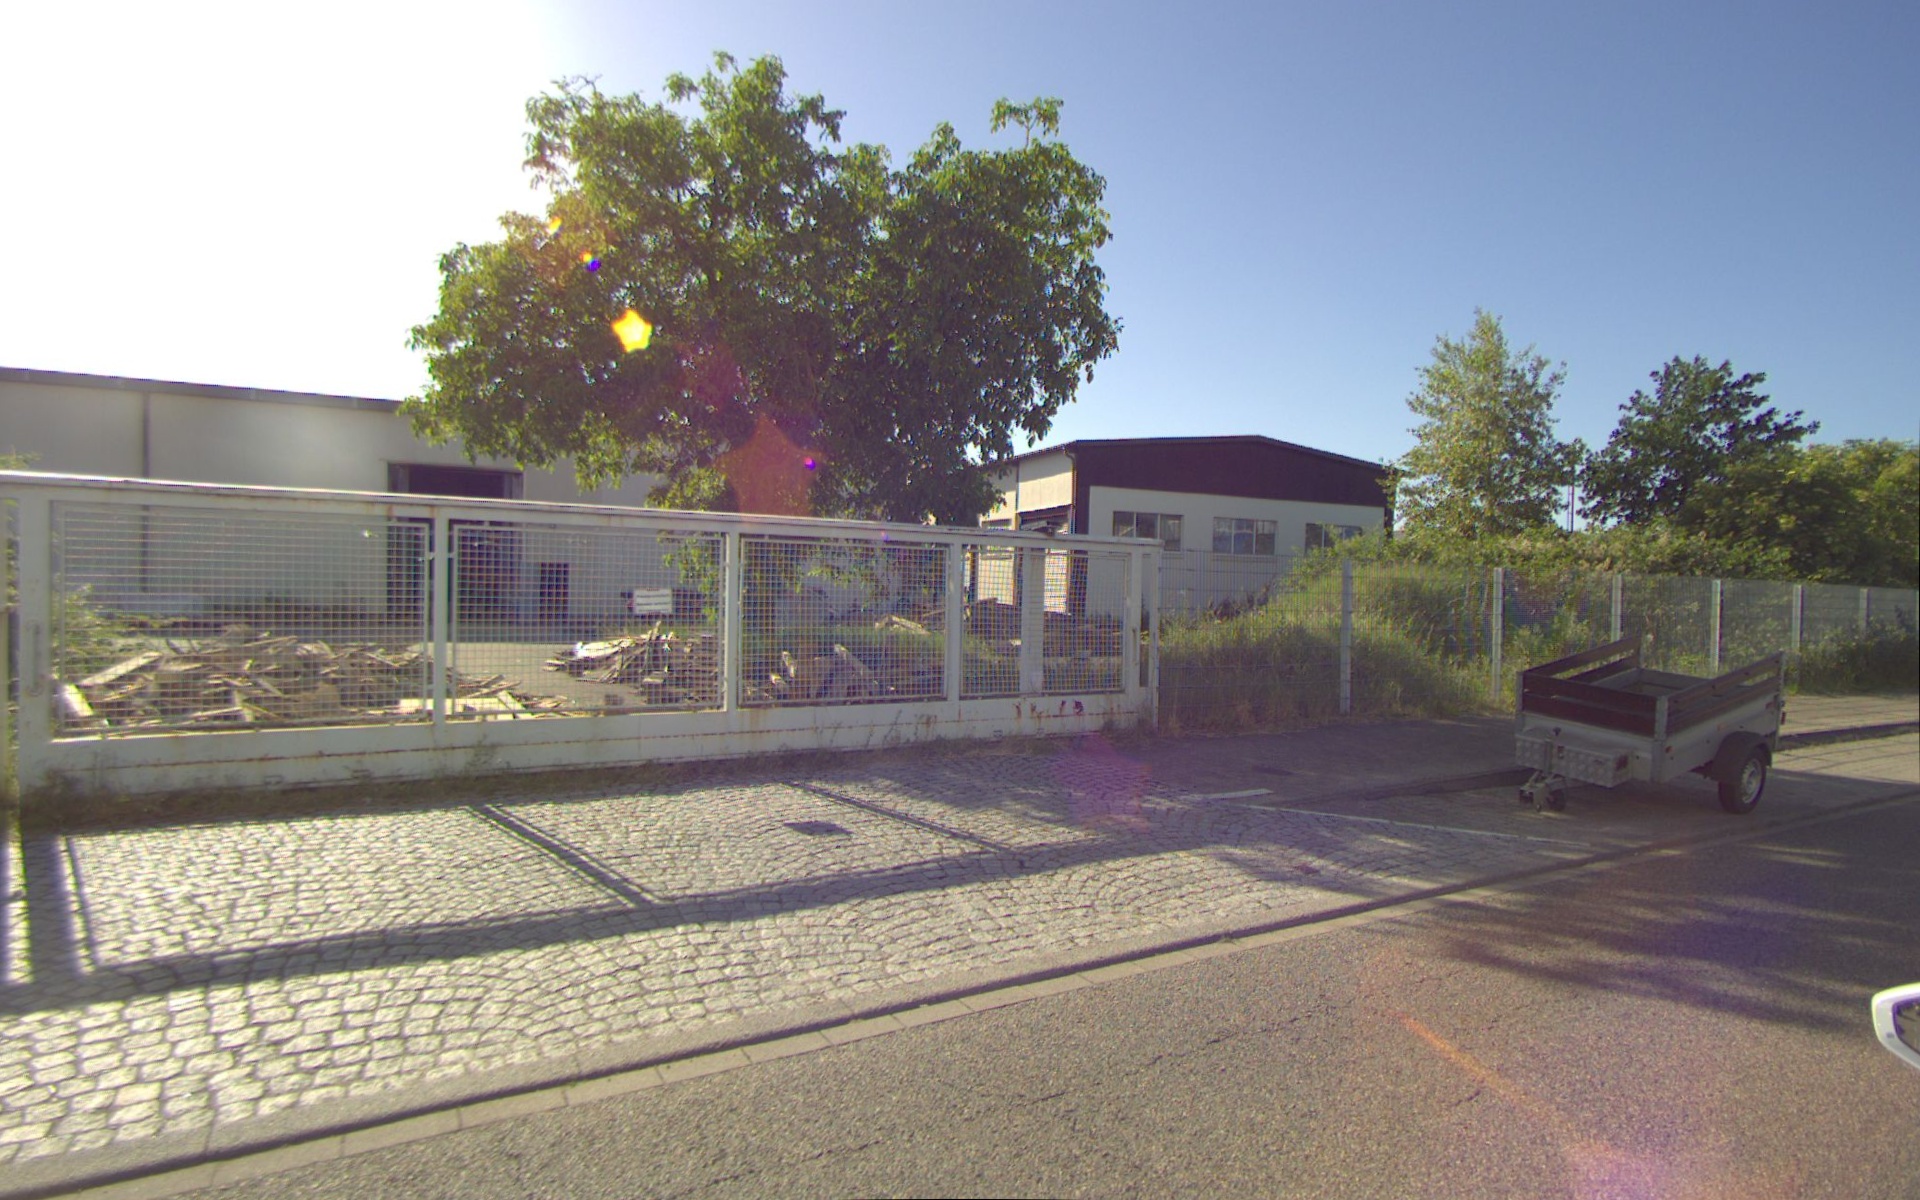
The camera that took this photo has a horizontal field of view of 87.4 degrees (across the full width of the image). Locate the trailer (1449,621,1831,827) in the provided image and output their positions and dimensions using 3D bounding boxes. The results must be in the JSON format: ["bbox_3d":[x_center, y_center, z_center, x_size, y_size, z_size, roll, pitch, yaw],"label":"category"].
[{"bbox_3d":[5.803,0.926,8.540,3.042,1.372,1.469,1,2,-30],"label":"trailer"}]
